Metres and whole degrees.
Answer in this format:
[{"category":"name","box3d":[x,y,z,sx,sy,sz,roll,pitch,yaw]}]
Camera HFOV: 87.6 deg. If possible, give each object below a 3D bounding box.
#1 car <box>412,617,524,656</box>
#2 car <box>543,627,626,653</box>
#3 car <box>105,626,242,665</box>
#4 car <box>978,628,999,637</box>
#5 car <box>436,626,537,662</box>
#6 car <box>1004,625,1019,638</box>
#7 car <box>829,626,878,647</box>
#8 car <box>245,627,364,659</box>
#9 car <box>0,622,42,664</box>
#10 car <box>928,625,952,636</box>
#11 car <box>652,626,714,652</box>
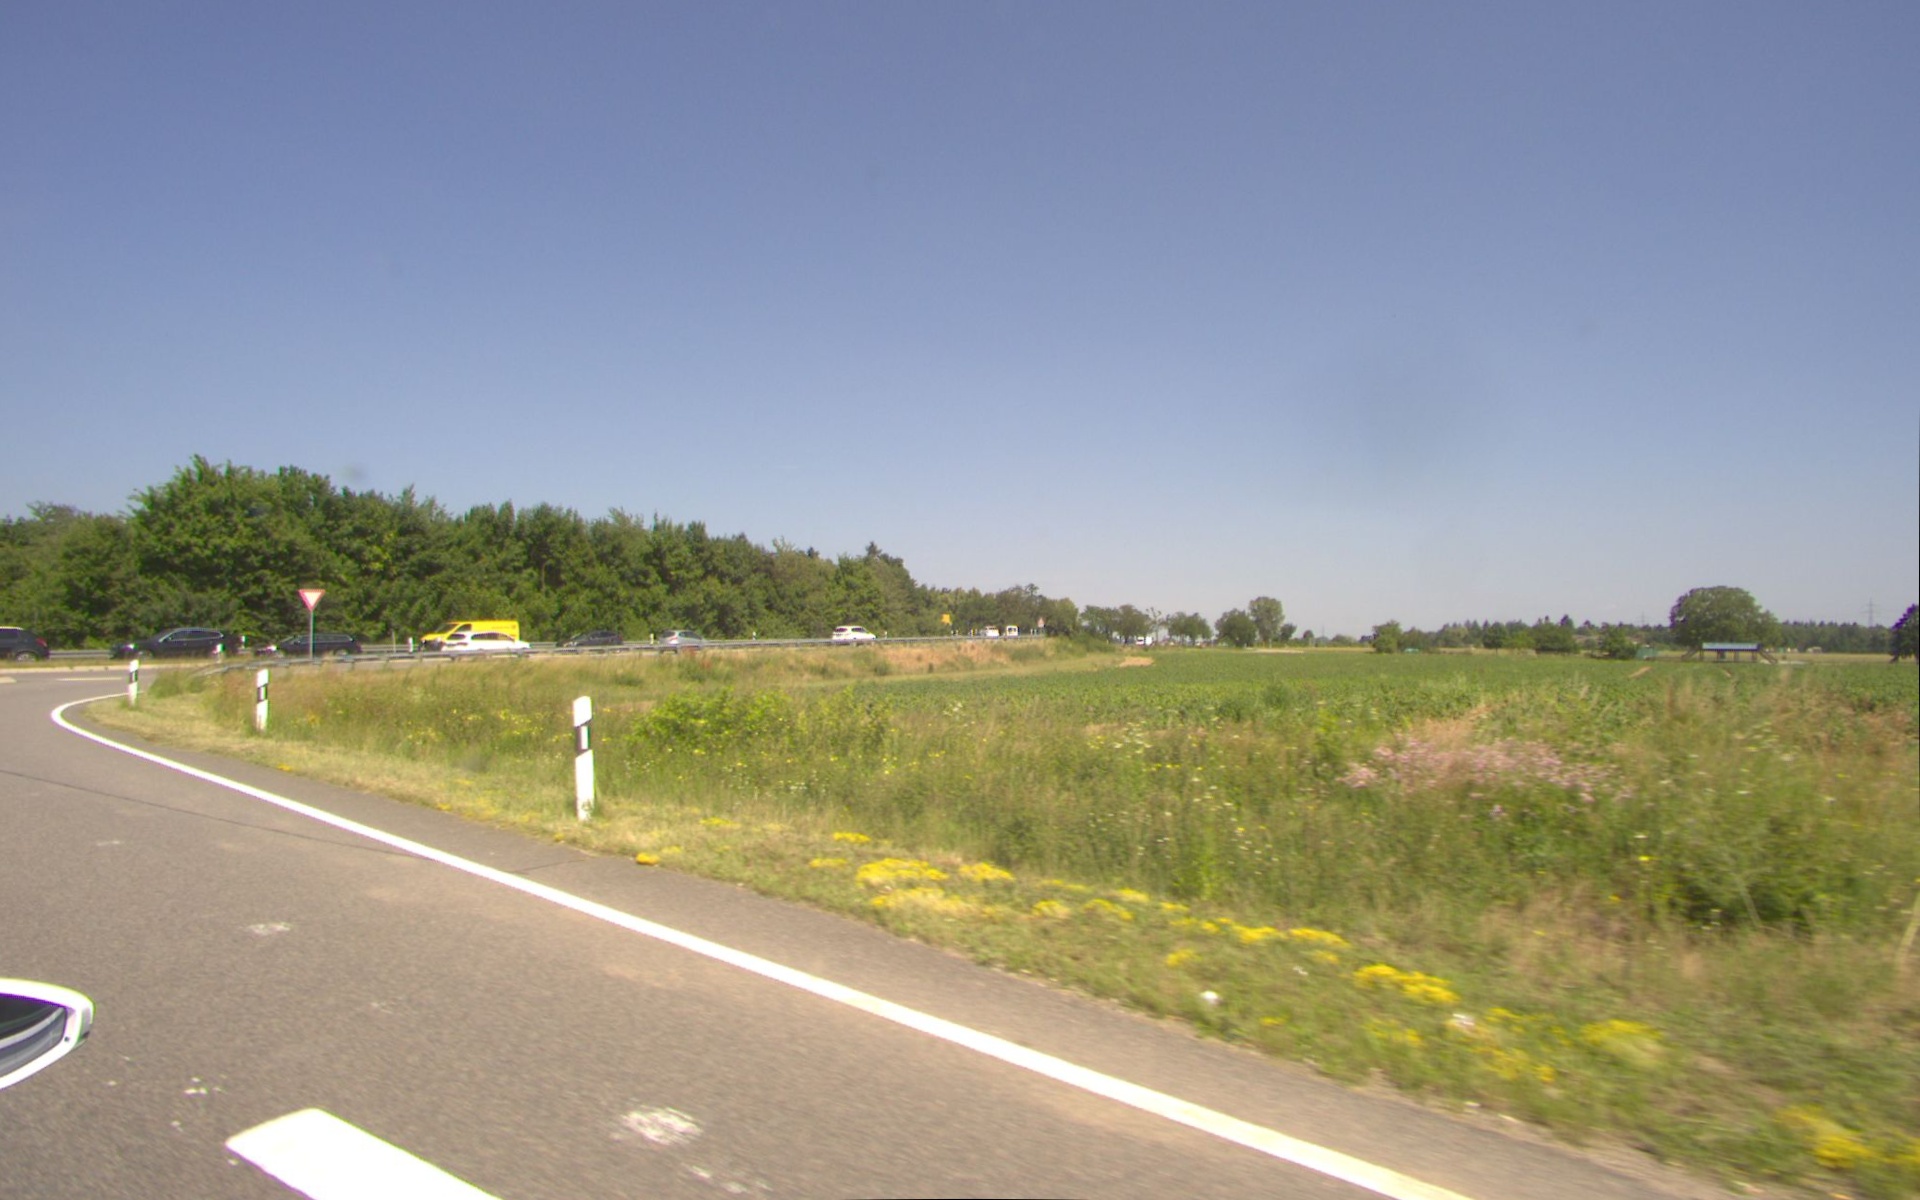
[{"category":"car","box3d":[-27.129,1.989,55.398,1.973,2.039,5.310,-1,-2,34]},{"category":"car","box3d":[-23.119,2.469,61.800,1.828,1.533,4.670,-2,-2,35]},{"category":"car","box3d":[-34.705,1.979,44.275,1.744,1.618,4.474,-2,-2,35]},{"category":"car","box3d":[3.890,4.483,137.246,1.687,1.203,3.996,0,-3,-16]},{"category":"car","box3d":[-23.284,2.153,49.465,1.711,1.587,4.470,-1,0,24]},{"category":"car","box3d":[6.443,3.911,125.337,1.684,1.589,4.002,-1,-2,-1]},{"category":"car","box3d":[-8.403,2.891,79.595,1.712,1.587,4.467,-1,-2,27]},{"category":"car","box3d":[-32.666,2.133,50.022,1.831,1.533,4.663,-2,-2,39]},{"category":"car","box3d":[-39.690,1.733,40.204,1.818,1.661,3.971,-2,-2,38]},{"category":"car","box3d":[-2.968,4.496,147.284,1.823,1.533,4.684,0,-2,-23]},{"category":"car","box3d":[-17.420,2.456,63.135,1.713,1.587,3.679,-1,-2,29]}]
